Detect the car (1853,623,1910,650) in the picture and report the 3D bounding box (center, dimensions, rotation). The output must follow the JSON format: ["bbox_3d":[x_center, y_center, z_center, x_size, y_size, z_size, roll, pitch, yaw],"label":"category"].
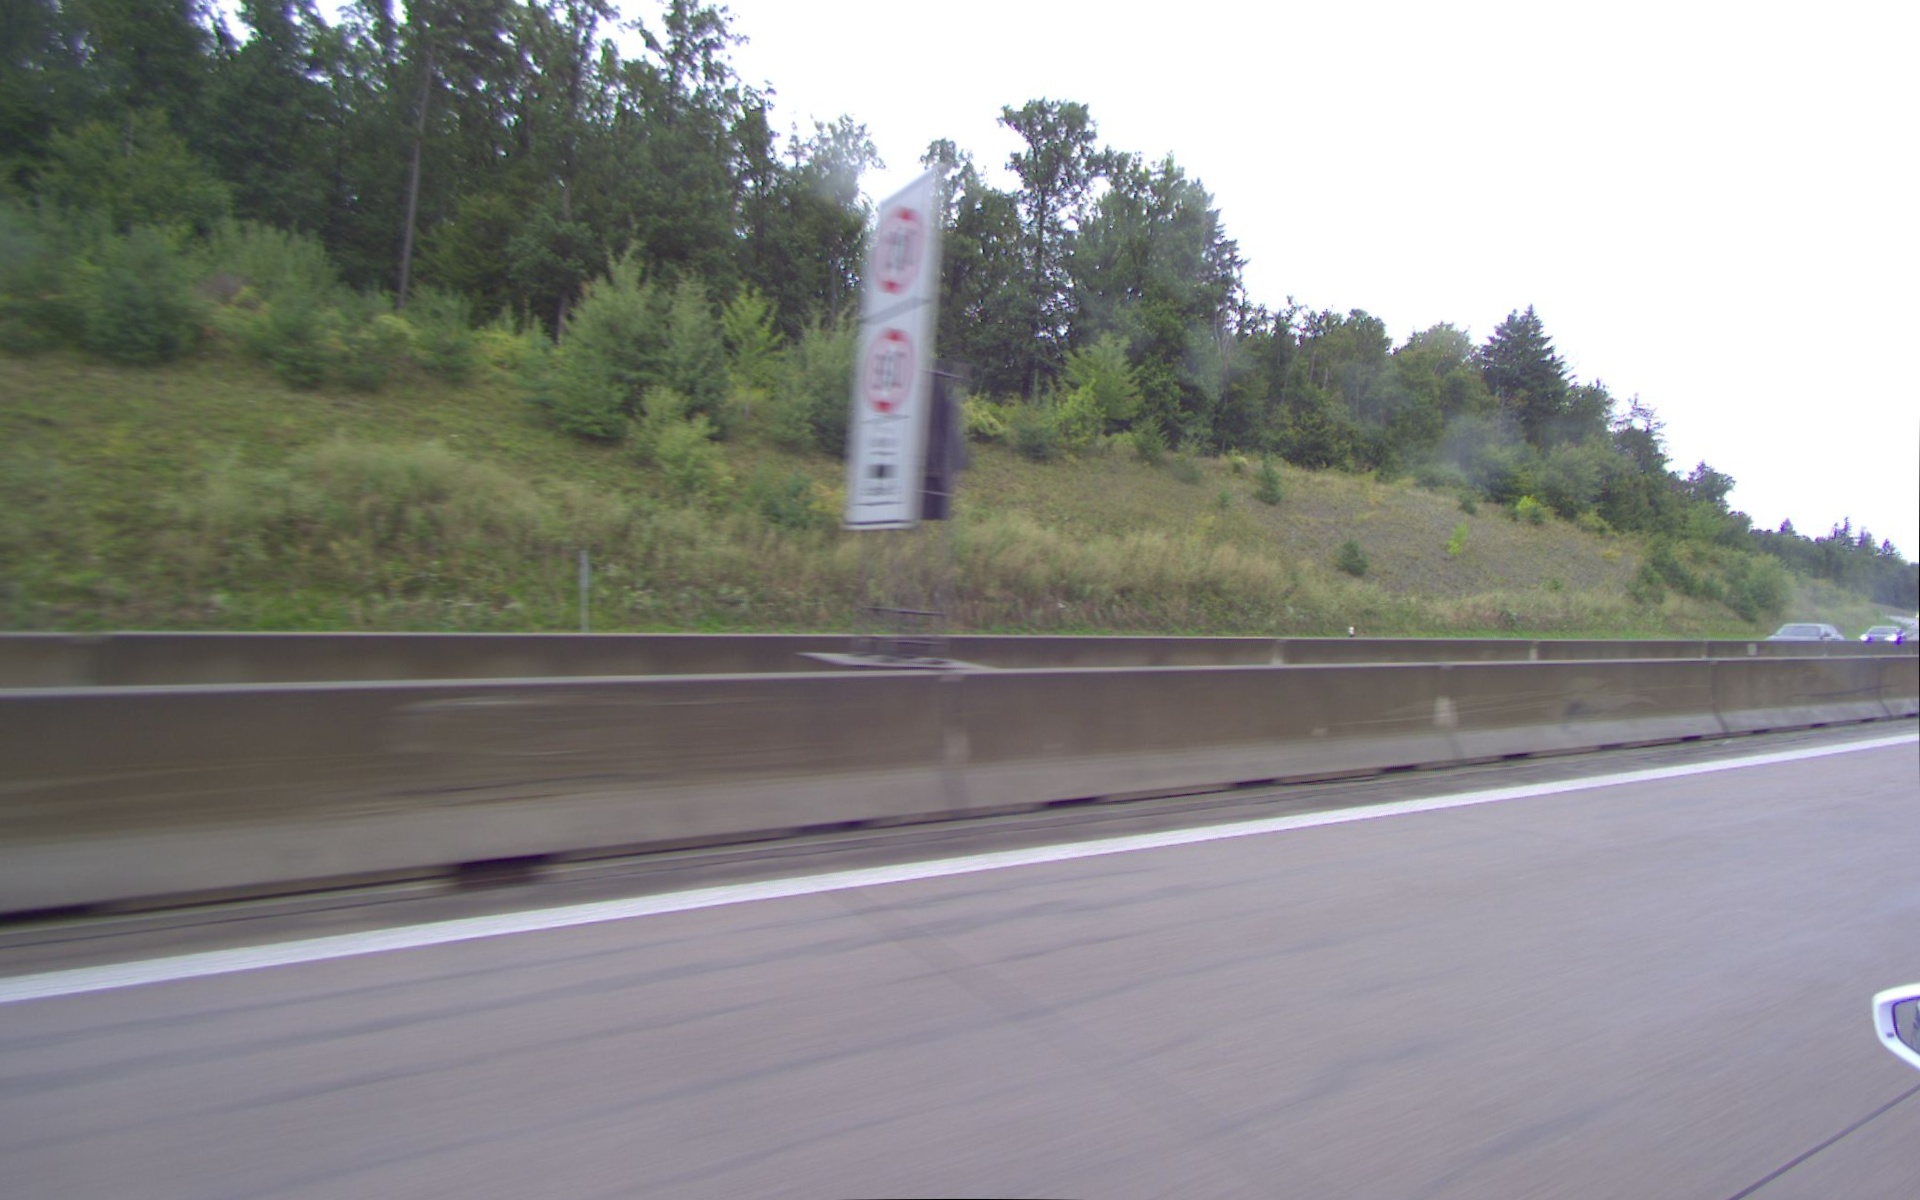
[{"bbox_3d":[58.981,2.329,64.280,4.209,1.660,1.766,2,-1,-34],"label":"car"}]
